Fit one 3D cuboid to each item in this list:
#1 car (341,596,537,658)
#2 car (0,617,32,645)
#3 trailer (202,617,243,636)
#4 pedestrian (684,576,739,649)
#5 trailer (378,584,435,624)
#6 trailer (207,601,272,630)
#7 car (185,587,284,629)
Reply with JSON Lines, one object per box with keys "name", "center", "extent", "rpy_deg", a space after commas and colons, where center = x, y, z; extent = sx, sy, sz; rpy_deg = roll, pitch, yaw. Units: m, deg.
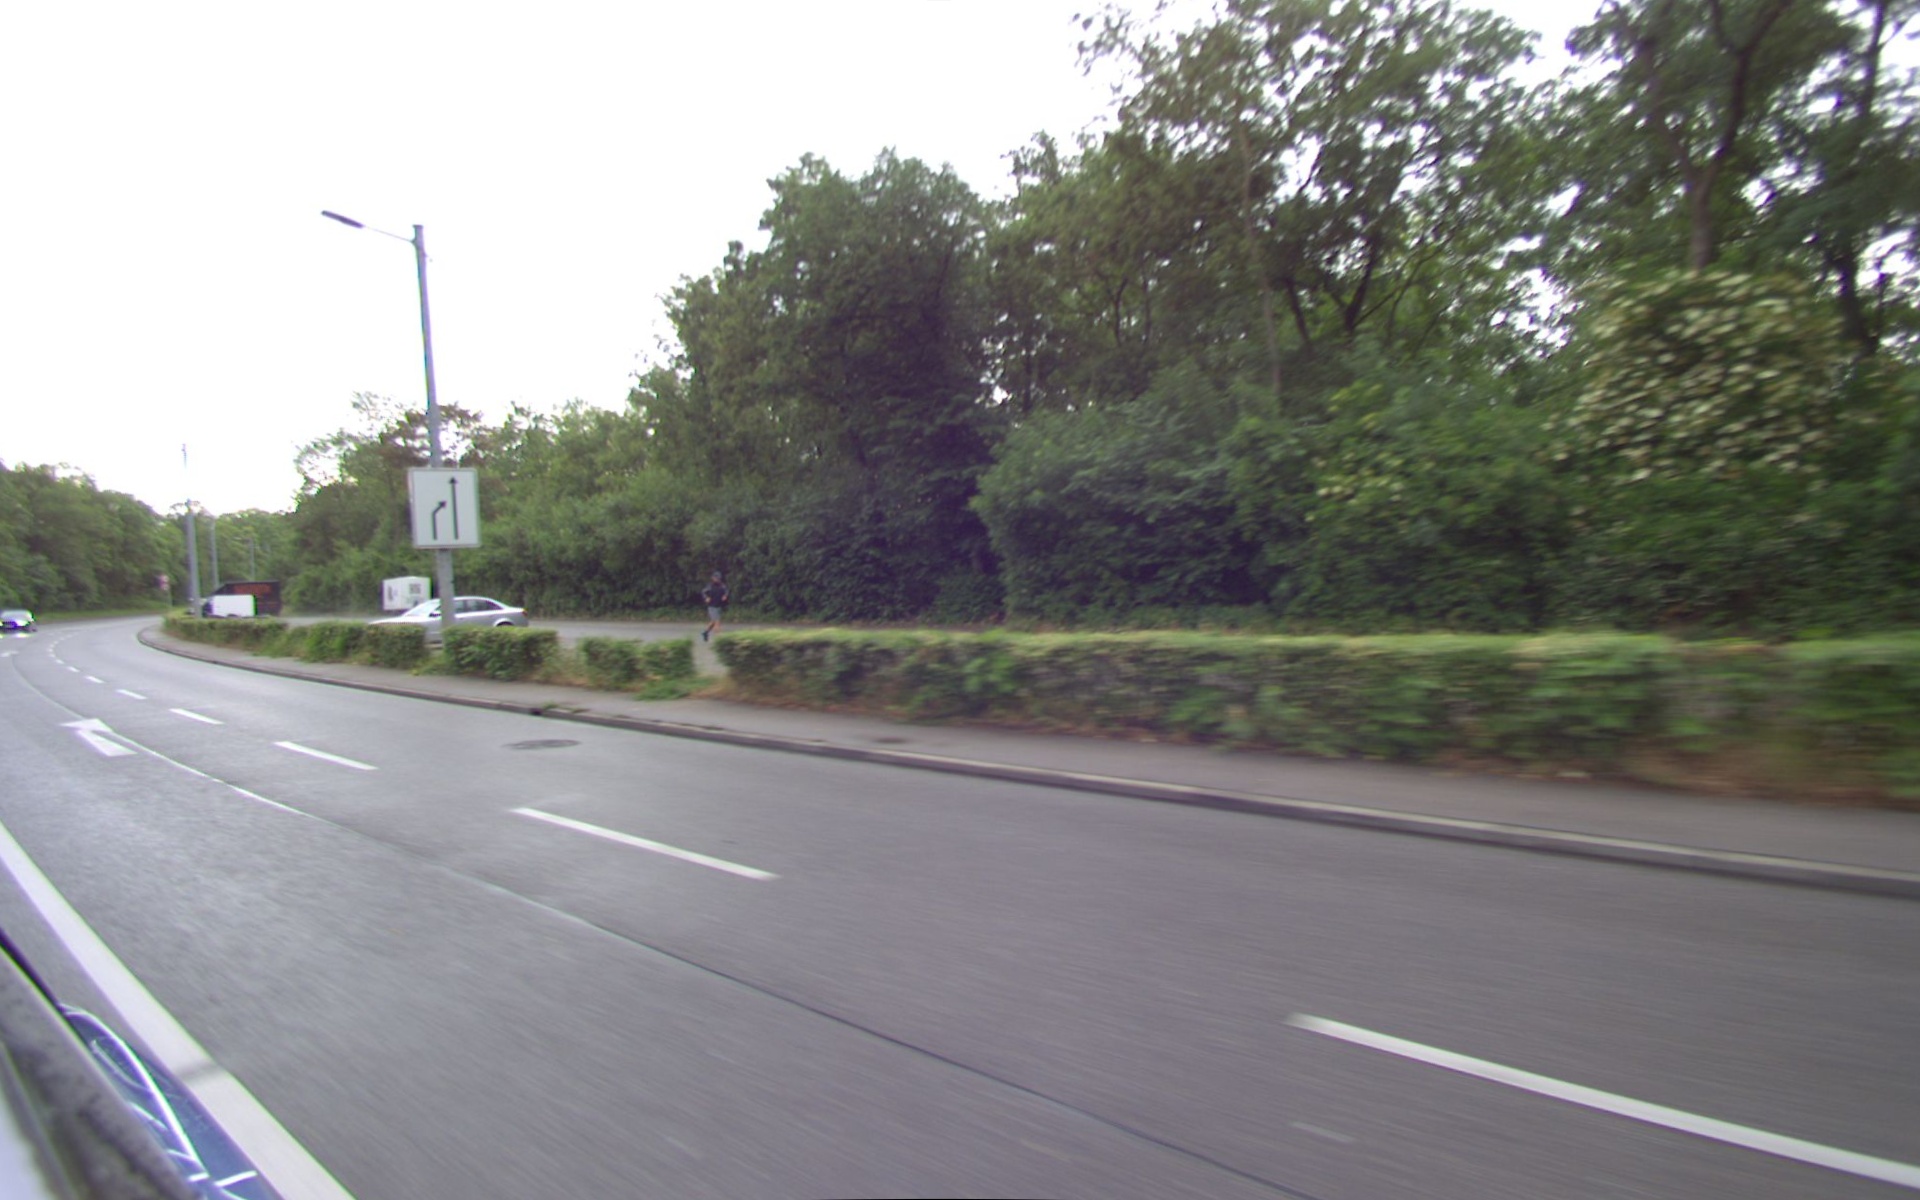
{"name": "car", "center": [-14.756, 0.718, 28.876], "extent": [1.998, 1.517, 4.531], "rpy_deg": [-1, 1, 39]}
{"name": "car", "center": [-61.892, 2.014, 65.694], "extent": [1.967, 1.696, 4.010], "rpy_deg": [-1, 0, -36]}
{"name": "trailer", "center": [-43.205, 1.536, 59.265], "extent": [1.779, 1.042, 1.335], "rpy_deg": [-2, 1, -43]}
{"name": "pedestrian", "center": [-6.276, 0.309, 25.533], "extent": [1.134, 1.811, 0.809], "rpy_deg": [-1, 0, 39]}
{"name": "trailer", "center": [-43.043, 0.305, 78.511], "extent": [2.444, 2.895, 7.991], "rpy_deg": [-1, 0, -39]}
{"name": "trailer", "center": [-54.560, 1.167, 76.648], "extent": [3.934, 2.068, 1.877], "rpy_deg": [-1, 0, -36]}
{"name": "car", "center": [-57.975, 0.595, 80.911], "extent": [6.193, 3.136, 2.757], "rpy_deg": [-2, 2, -39]}
